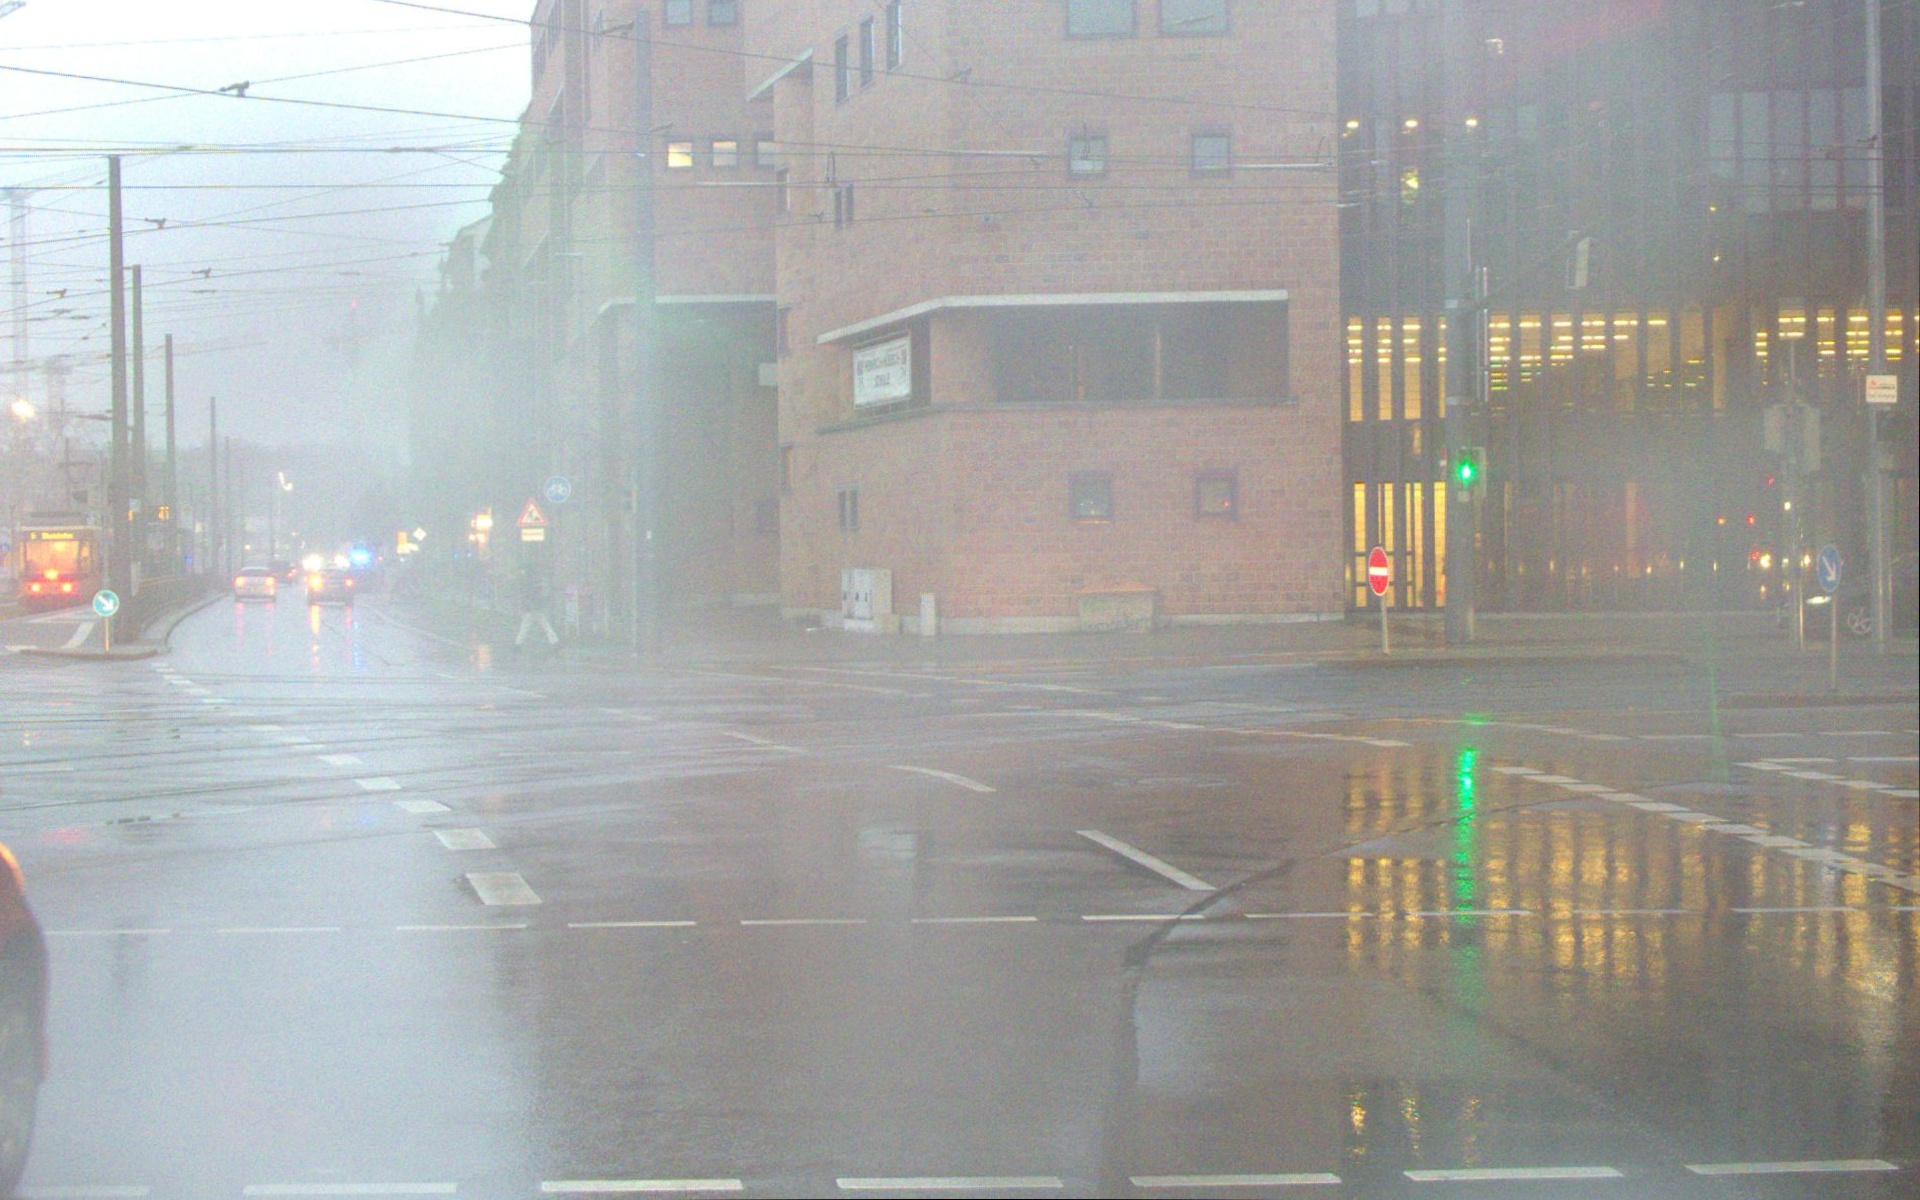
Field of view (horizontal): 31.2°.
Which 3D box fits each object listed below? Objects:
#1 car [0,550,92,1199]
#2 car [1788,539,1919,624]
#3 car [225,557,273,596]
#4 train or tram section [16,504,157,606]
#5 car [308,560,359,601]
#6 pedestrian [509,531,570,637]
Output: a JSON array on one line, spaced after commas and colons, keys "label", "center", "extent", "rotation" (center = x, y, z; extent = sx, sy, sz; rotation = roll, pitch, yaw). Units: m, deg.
[{"label": "car", "center": [-2.963, 0.649, 6.457], "extent": [1.698, 1.454, 3.757], "rotation": [-1, 1, 0]}, {"label": "car", "center": [15.704, -0.333, 55.726], "extent": [3.986, 1.305, 2.000], "rotation": [-1, 1, -4]}, {"label": "car", "center": [-30.273, -1.019, 146.389], "extent": [1.870, 1.573, 4.001], "rotation": [1, 1, -10]}, {"label": "train or tram section", "center": [-32.856, -1.697, 130.419], "extent": [3.190, 3.424, 27.839], "rotation": [-1, 1, -10]}, {"label": "car", "center": [-25.542, -0.802, 140.277], "extent": [1.870, 1.573, 4.001], "rotation": [1, 1, -8]}, {"label": "pedestrian", "center": [-8.062, -0.310, 65.885], "extent": [1.068, 2.007, 0.685], "rotation": [-1, 1, -13]}]
